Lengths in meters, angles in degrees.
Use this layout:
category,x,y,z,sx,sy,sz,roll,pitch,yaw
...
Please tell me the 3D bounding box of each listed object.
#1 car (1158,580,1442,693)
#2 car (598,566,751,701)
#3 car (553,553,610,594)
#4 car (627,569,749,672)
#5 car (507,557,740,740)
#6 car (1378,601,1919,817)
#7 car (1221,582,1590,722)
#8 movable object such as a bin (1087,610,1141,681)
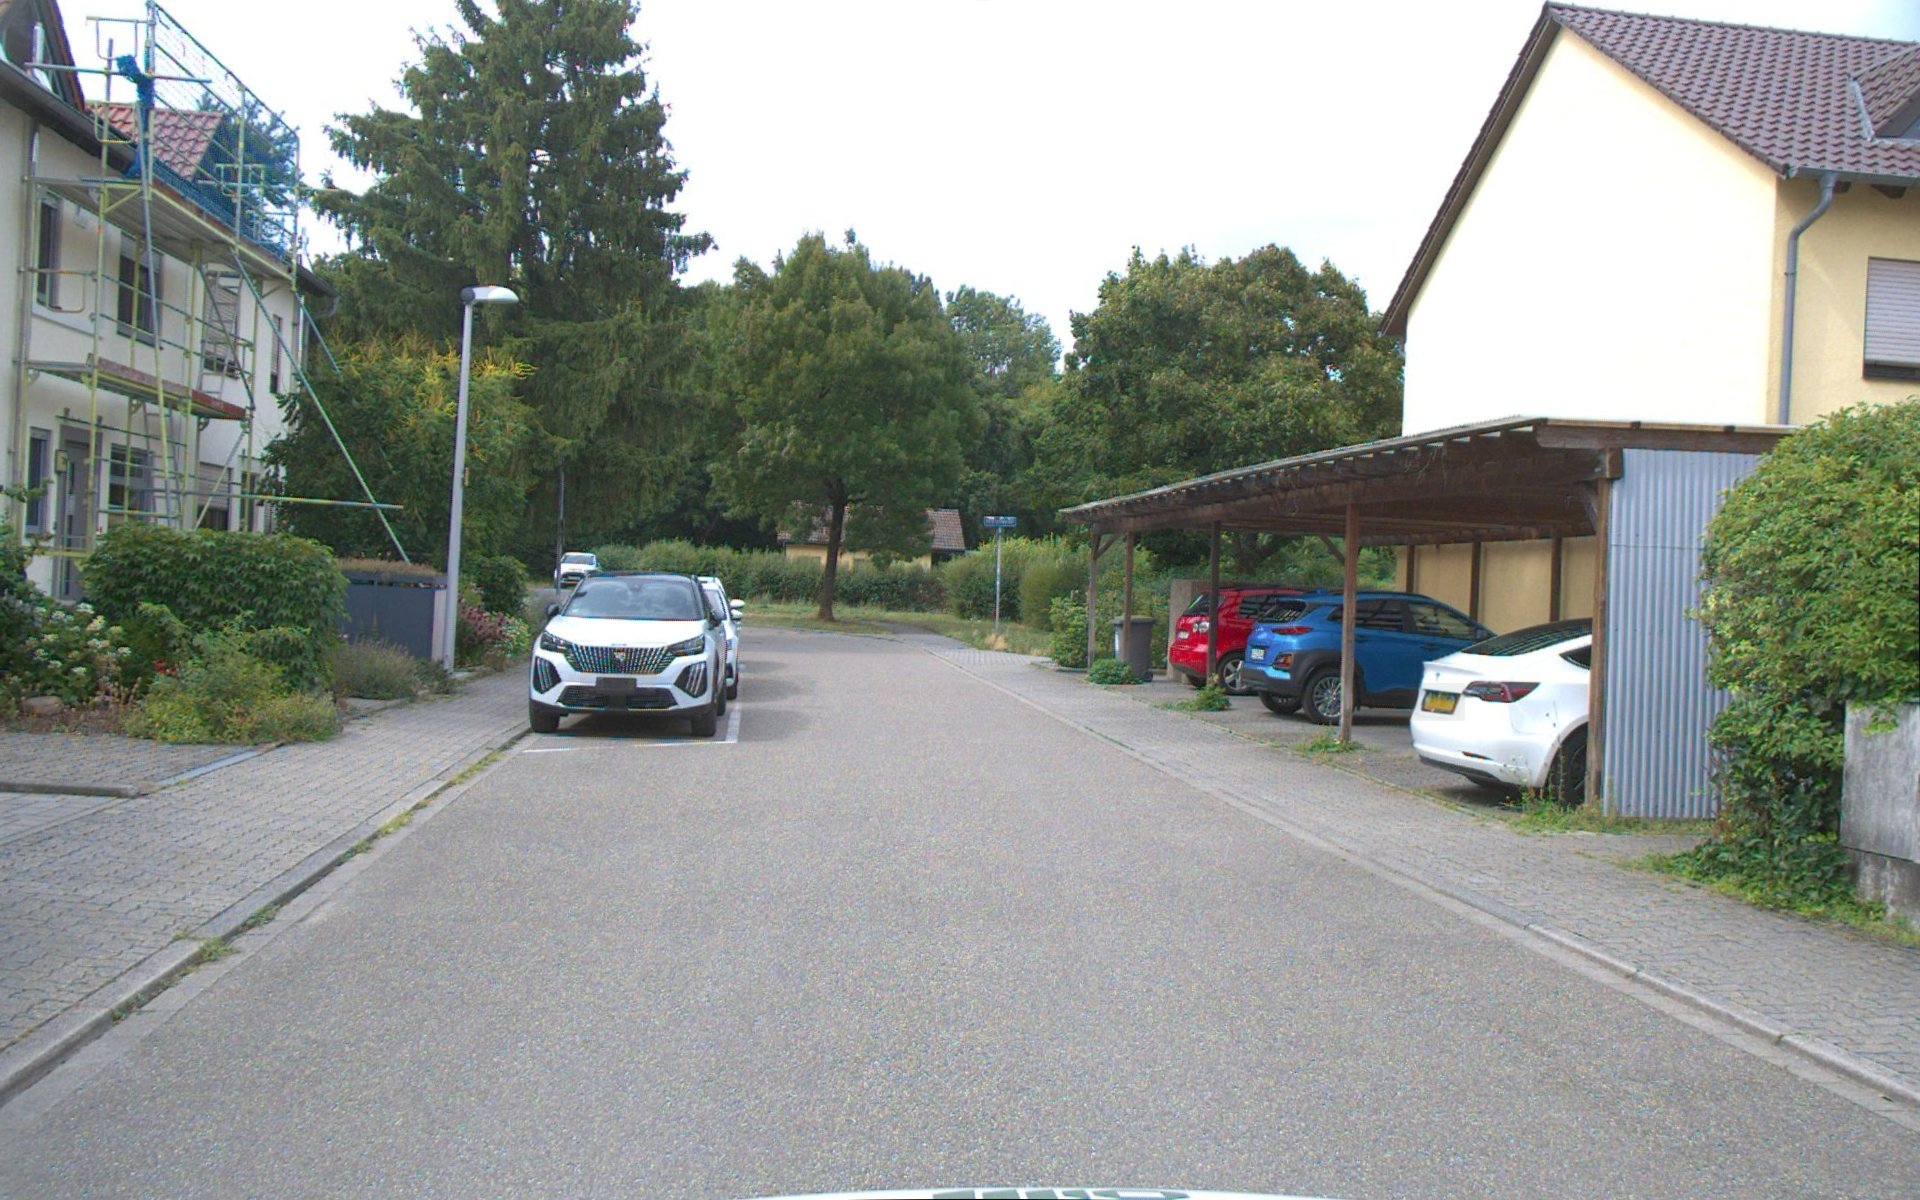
category,x,y,z,sx,sy,sz,roll,pitch,yaw
car,5.204,0.546,25.556,3.885,1.567,1.835,2,1,-10
car,-3.765,0.368,22.514,1.776,1.589,4.840,2,1,-7
car,-16.545,-1.164,72.482,1.901,1.689,4.335,2,1,-7
car,-4.515,0.291,27.913,1.757,1.557,4.134,2,1,-6
car,-3.317,0.401,17.136,1.897,1.583,4.628,2,1,-6
car,5.800,0.827,13.088,4.368,1.458,2.023,2,1,-9
car,5.491,0.626,20.639,3.972,1.549,1.946,2,1,-10
movable object such as a bin,2.469,0.728,26.517,0.686,1.091,0.710,1,0,-10
